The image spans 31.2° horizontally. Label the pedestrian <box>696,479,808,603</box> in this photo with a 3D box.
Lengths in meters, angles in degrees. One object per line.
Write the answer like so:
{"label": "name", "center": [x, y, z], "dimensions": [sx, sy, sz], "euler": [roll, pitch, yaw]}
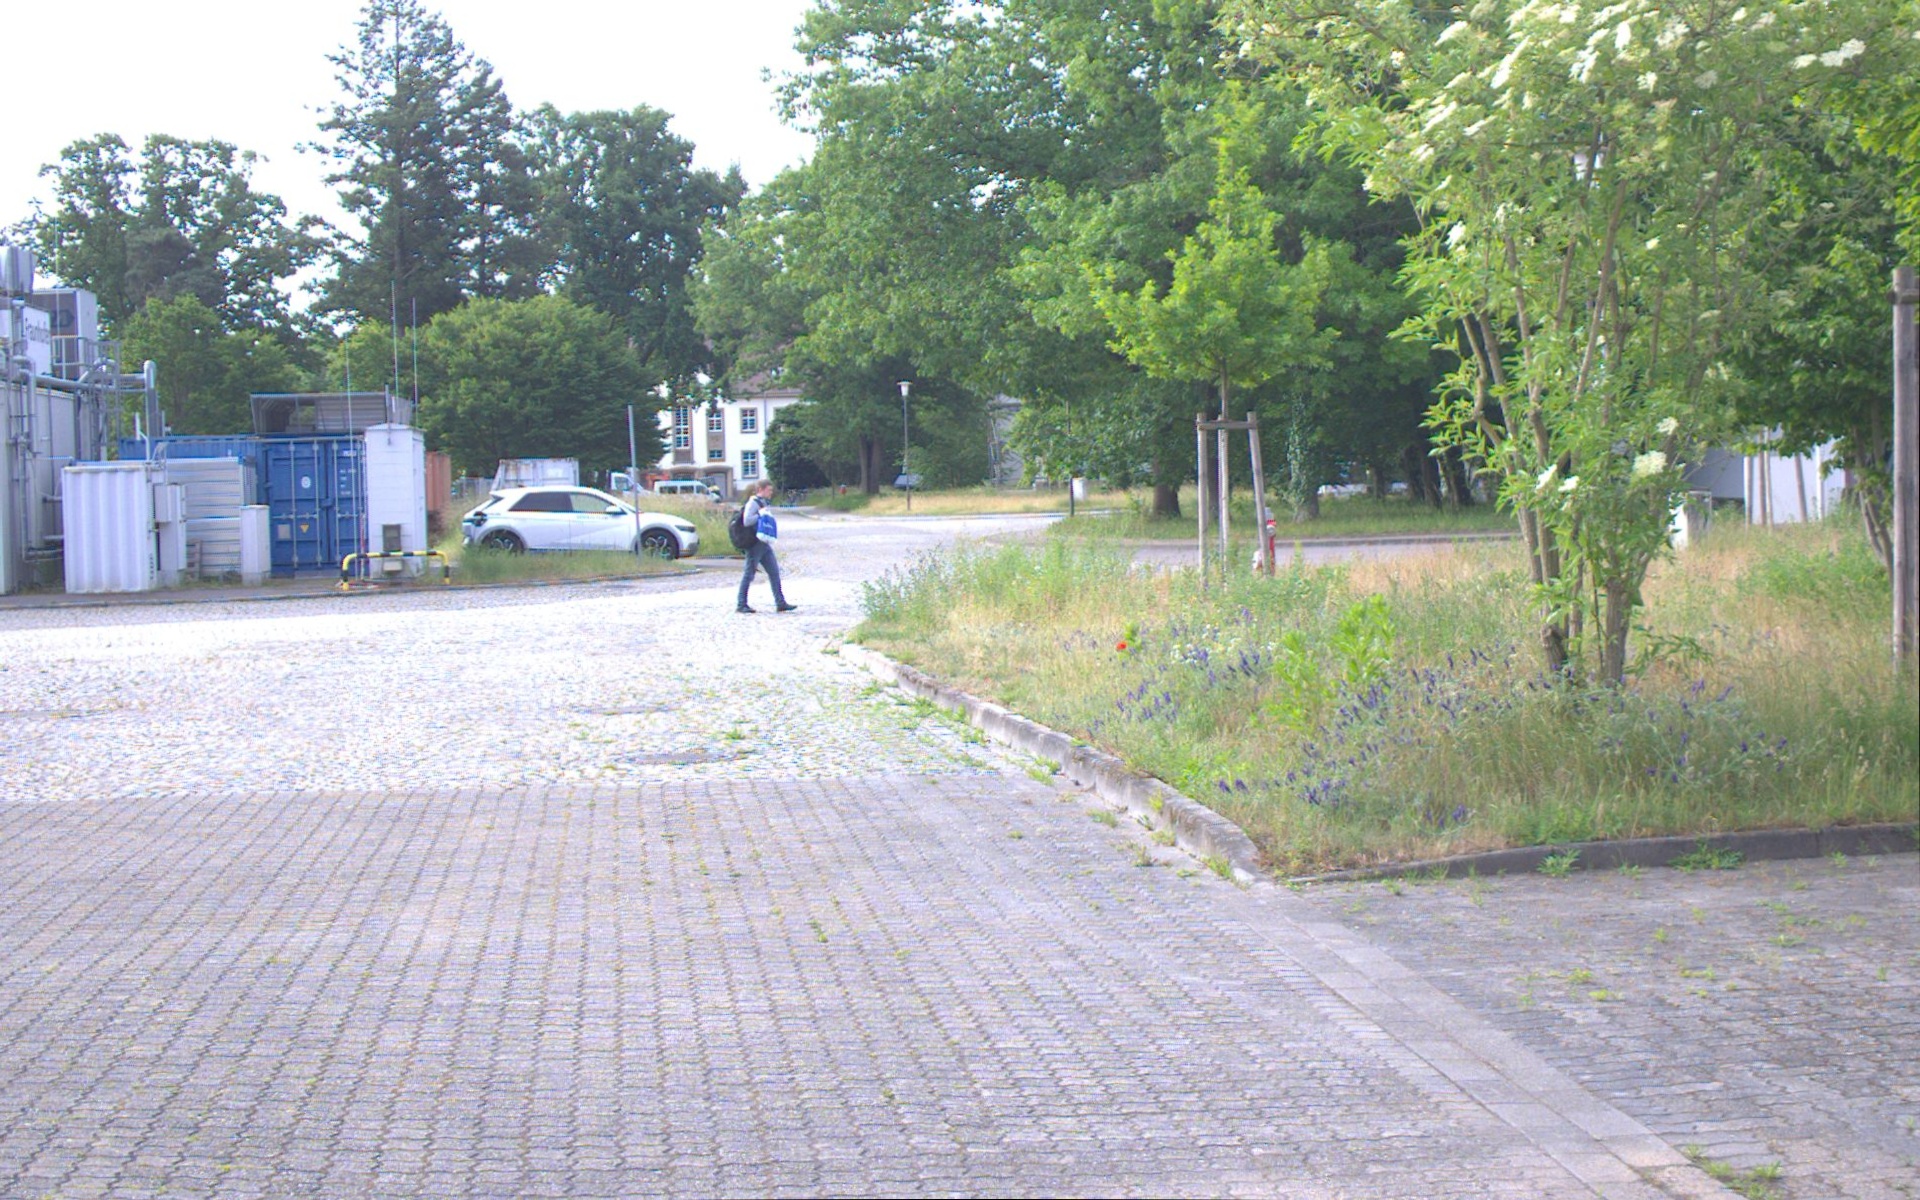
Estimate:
{"label": "pedestrian", "center": [-2.666, -0.765, 44.241], "dimensions": [1.076, 1.551, 1.074], "euler": [-1, 2, 19]}

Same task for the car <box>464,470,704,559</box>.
{"label": "car", "center": [-7.346, -1.686, 67.516], "dimensions": [4.533, 1.594, 2.000], "euler": [-2, 2, -3]}

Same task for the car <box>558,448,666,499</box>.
{"label": "car", "center": [-17.061, -6.198, 168.578], "dimensions": [5.169, 2.329, 2.001], "euler": [-2, 2, -5]}
